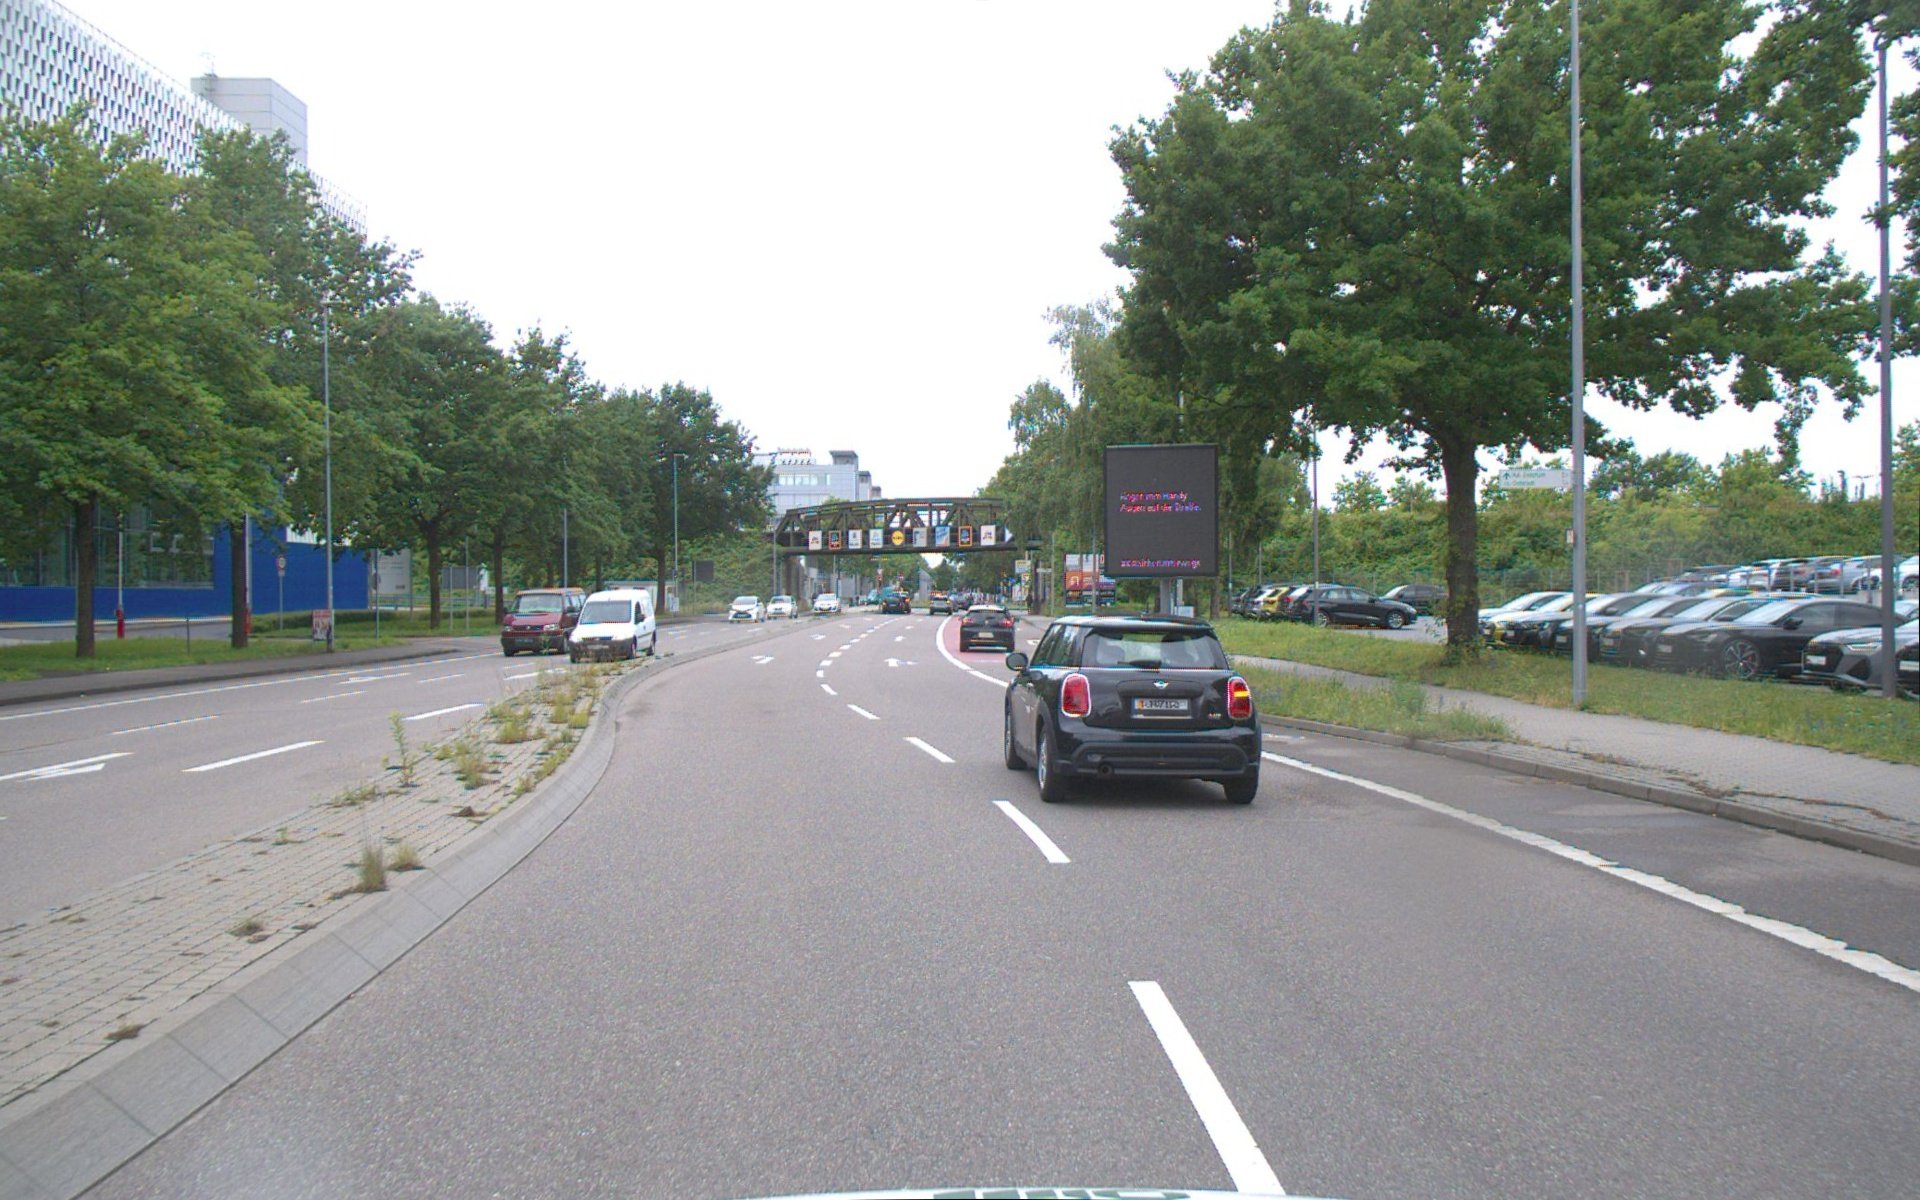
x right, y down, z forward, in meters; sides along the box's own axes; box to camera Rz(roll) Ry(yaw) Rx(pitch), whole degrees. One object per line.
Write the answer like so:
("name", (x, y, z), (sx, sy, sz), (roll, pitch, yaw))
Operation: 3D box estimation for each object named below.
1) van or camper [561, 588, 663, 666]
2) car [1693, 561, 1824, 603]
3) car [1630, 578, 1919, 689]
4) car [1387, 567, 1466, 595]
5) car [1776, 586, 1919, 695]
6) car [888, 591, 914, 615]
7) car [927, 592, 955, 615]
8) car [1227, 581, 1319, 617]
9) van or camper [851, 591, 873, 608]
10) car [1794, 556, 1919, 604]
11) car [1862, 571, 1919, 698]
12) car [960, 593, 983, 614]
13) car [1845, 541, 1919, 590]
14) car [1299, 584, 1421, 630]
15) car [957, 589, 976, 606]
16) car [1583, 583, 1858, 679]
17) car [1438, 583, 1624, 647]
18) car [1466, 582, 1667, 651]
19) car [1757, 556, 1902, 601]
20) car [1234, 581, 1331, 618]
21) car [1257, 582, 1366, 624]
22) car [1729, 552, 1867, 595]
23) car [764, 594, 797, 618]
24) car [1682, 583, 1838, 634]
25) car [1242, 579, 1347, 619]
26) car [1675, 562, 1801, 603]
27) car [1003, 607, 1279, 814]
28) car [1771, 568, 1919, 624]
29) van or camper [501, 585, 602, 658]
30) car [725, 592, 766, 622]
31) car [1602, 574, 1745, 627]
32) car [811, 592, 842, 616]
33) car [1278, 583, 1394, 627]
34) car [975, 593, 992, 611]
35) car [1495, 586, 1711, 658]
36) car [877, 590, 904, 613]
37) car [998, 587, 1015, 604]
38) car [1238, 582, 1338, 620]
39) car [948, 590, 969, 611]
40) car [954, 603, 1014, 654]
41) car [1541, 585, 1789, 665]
("van or camper", (-8.916, 0.648, 42.700), (1.720, 1.777, 4.405), (-4, 1, -2))
("car", (29.459, -0.680, 61.088), (4.002, 1.460, 1.730), (1, 2, -1))
("car", (14.263, 0.560, 28.727), (4.355, 1.598, 2.000), (4, 0, -1))
("car", (25.445, -1.052, 90.373), (3.902, 1.460, 1.732), (1, 2, 6))
("car", (14.219, 0.667, 23.506), (4.205, 1.417, 2.000), (4, 0, 1))
("car", (-4.993, 0.257, 141.148), (1.909, 1.847, 4.002), (1, 2, 2))
("car", (-1.542, 0.283, 135.526), (2.091, 1.690, 3.784), (1, 2, 2))
("car", (14.046, -0.053, 74.421), (3.902, 1.460, 1.732), (1, 2, 6))
("van or camper", (-14.584, -0.109, 246.752), (1.951, 2.529, 7.033), (-1, 0, 7))
("car", (29.444, -0.664, 53.532), (4.002, 1.460, 1.730), (1, 2, -1))
("car", (14.146, 0.576, 21.037), (4.172, 1.592, 2.000), (4, 0, 1))
("car", (1.023, 0.286, 143.200), (1.845, 1.690, 3.784), (1, 2, 2))
("car", (29.766, -1.050, 50.904), (4.114, 1.460, 1.730), (1, 2, -1))
("car", (13.811, 0.237, 57.333), (3.902, 1.460, 1.732), (1, 2, 6))
("car", (0.720, -0.246, 177.248), (1.845, 1.690, 3.784), (1, 2, 2))
("car", (14.293, 0.567, 31.262), (4.255, 1.529, 1.929), (3, 0, -1))
("car", (14.102, 0.368, 40.971), (4.002, 1.460, 1.730), (1, 2, -1))
("car", (14.123, 0.368, 38.653), (4.002, 1.460, 1.846), (1, 2, -1))
("car", (29.412, -0.736, 56.037), (4.002, 1.460, 1.730), (1, 2, -1))
("car", (13.683, -0.038, 70.256), (3.902, 1.460, 1.732), (1, 2, 6))
("car", (13.324, 0.086, 62.859), (3.902, 1.460, 1.732), (1, 2, 6))
("car", (29.668, -0.943, 58.624), (4.002, 1.460, 1.730), (1, 2, -1))
("car", (-11.662, 0.356, 107.602), (1.684, 1.395, 3.441), (1, 2, 2))
("car", (24.803, 0.257, 51.384), (4.002, 1.460, 1.730), (1, 2, -1))
("car", (13.151, -0.041, 65.213), (3.902, 1.460, 1.732), (1, 2, 6))
("car", (29.665, -0.667, 63.120), (4.002, 1.460, 1.730), (1, 2, -1))
("car", (1.362, 0.816, 13.808), (1.750, 1.440, 3.641), (2, 0, -2))
("car", (25.003, -0.112, 46.024), (4.002, 1.460, 1.730), (1, 2, -1))
("van or camper", (-12.352, 0.604, 50.284), (1.837, 2.021, 4.889), (-1, 1, 0))
("car", (-11.969, 0.372, 92.371), (1.718, 1.471, 3.341), (1, 2, 2))
("car", (23.738, 0.011, 55.124), (4.002, 1.648, 1.730), (1, 2, -1))
("car", (-10.199, 0.303, 126.616), (1.900, 1.705, 3.784), (1, 2, 2))
("car", (13.577, 0.155, 59.838), (3.902, 1.460, 1.732), (1, 2, 6))
("car", (2.732, 0.226, 190.935), (1.909, 1.847, 4.002), (1, 2, 2))
("car", (14.034, 0.465, 36.247), (4.002, 1.460, 1.822), (1, 2, -1))
("car", (-5.615, 0.131, 134.336), (1.845, 1.690, 3.784), (1, 2, 2))
("car", (5.276, -0.528, 186.713), (1.909, 1.847, 4.002), (1, 2, 2))
("car", (13.533, 0.019, 68.388), (3.902, 1.460, 1.732), (1, 2, 6))
("car", (-0.101, 0.036, 166.269), (1.909, 1.847, 4.002), (1, 2, 2))
("car", (0.800, 0.868, 52.182), (1.720, 1.459, 4.002), (0, 1, 3))
("car", (14.266, 0.493, 33.628), (4.254, 1.514, 1.843), (1, 0, -1))
